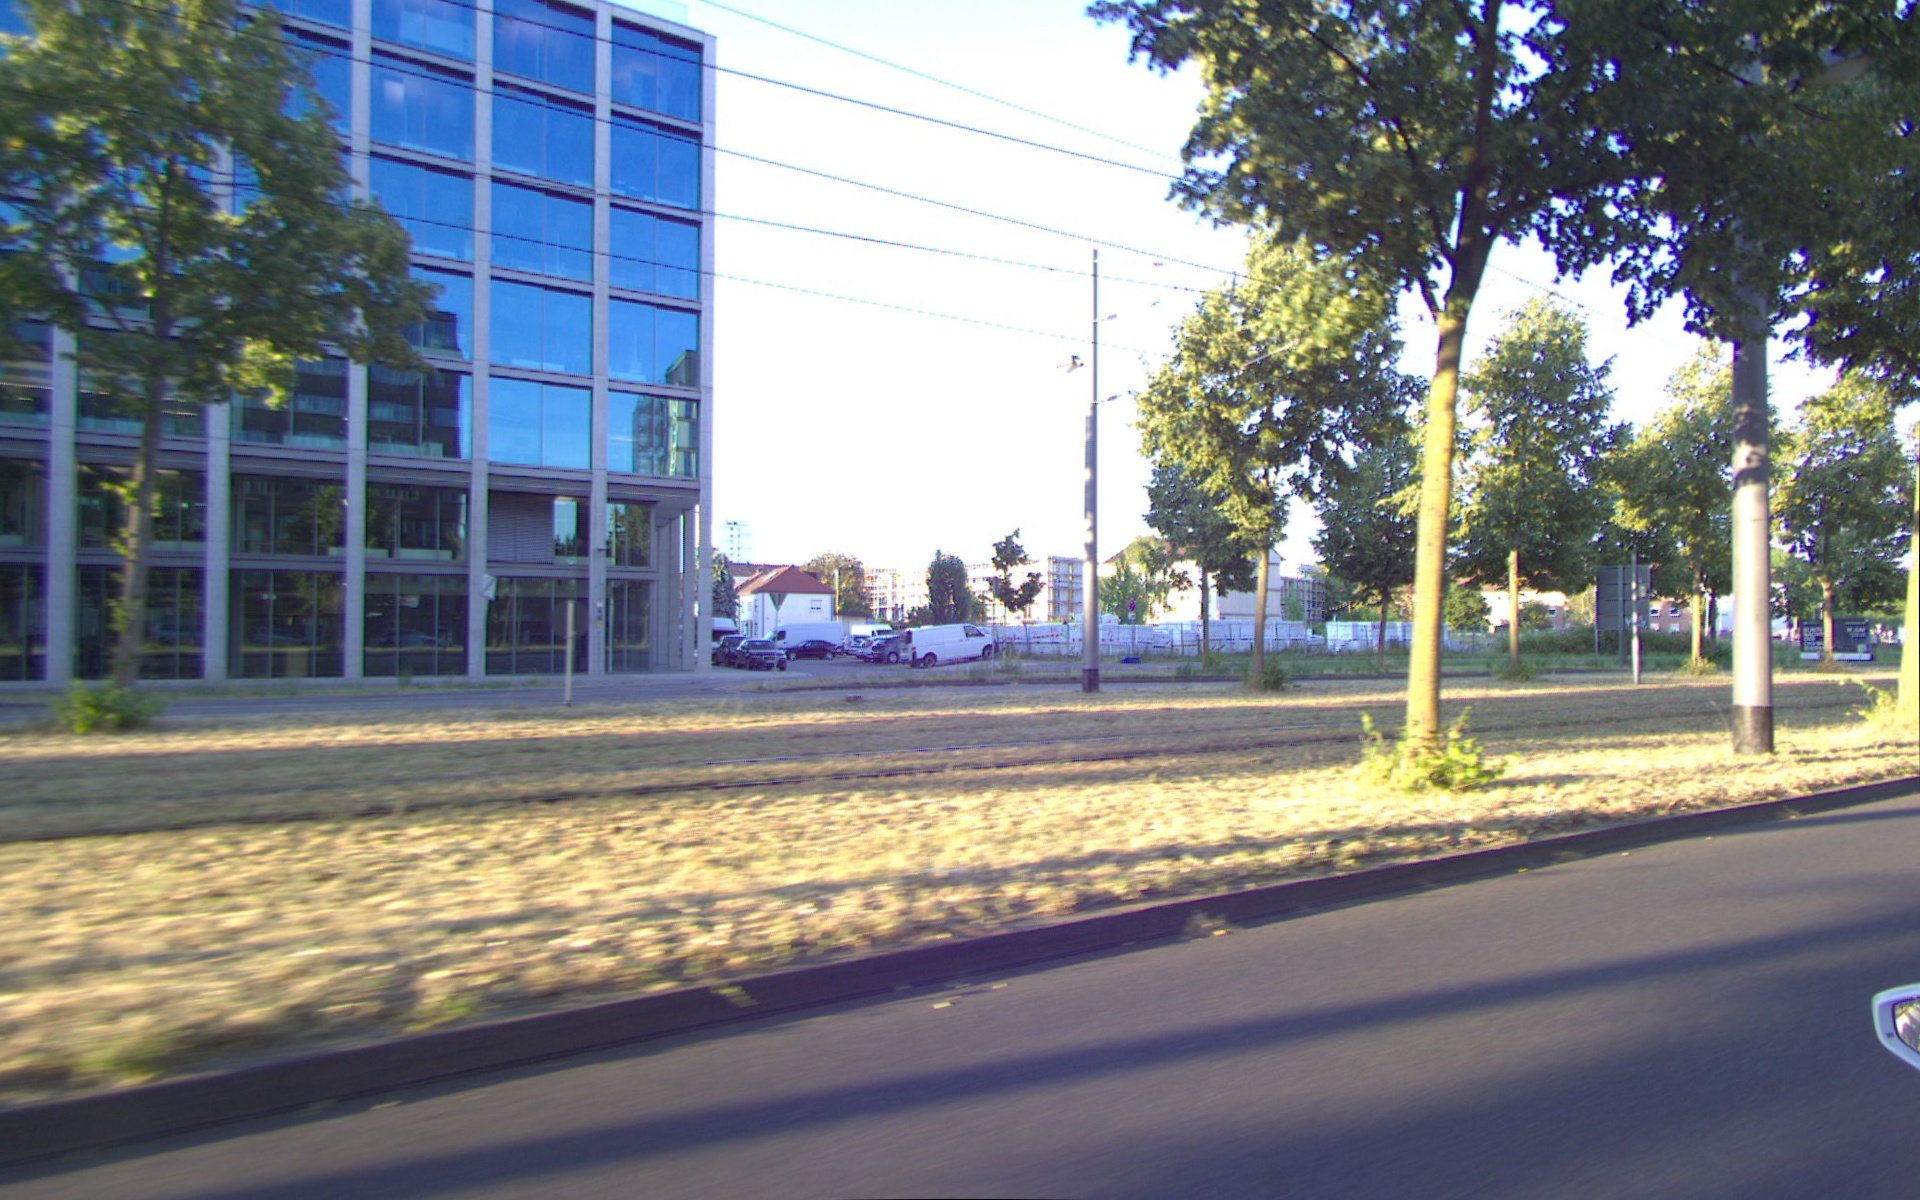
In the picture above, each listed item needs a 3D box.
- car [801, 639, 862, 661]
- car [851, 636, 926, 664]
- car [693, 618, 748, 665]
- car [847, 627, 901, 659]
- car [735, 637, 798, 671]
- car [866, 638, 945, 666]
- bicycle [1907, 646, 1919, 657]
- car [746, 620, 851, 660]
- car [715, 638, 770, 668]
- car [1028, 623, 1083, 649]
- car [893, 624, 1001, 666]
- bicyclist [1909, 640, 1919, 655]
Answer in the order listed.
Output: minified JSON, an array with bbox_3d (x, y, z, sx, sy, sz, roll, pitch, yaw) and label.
[{"bbox_3d":[-9.122,3.530,71.529,3.955,1.529,1.788,1,-2,-31],"label":"car"},{"bbox_3d":[-4.171,2.890,58.563,3.953,1.529,1.985,1,-2,-30],"label":"car"},{"bbox_3d":[-13.532,2.312,56.564,1.946,2.500,5.466,1,-2,-25],"label":"car"},{"bbox_3d":[-7.806,3.846,90.769,2.290,2.718,6.161,1,-2,-33],"label":"car"},{"bbox_3d":[-9.011,2.487,46.570,1.870,1.465,3.974,1,-2,-26],"label":"car"},{"bbox_3d":[-3.010,2.860,55.635,3.953,1.437,1.985,1,-2,-30],"label":"car"},{"bbox_3d":[91.370,4.927,96.090,2.060,1.024,0.616,2,-2,-32],"label":"bicycle"},{"bbox_3d":[-11.845,2.951,73.919,7.225,2.802,2.456,1,-2,-31],"label":"car"},{"bbox_3d":[-11.090,2.658,51.119,1.869,1.465,3.975,1,-2,-26],"label":"car"},{"bbox_3d":[7.718,2.921,81.260,4.263,2.008,1.788,1,-2,-31],"label":"car"},{"bbox_3d":[-0.655,2.256,50.600,5.023,2.040,2.196,1,-2,-30],"label":"car"},{"bbox_3d":[91.354,4.554,96.101,0.927,1.475,0.616,2,-2,-32],"label":"bicyclist"}]
